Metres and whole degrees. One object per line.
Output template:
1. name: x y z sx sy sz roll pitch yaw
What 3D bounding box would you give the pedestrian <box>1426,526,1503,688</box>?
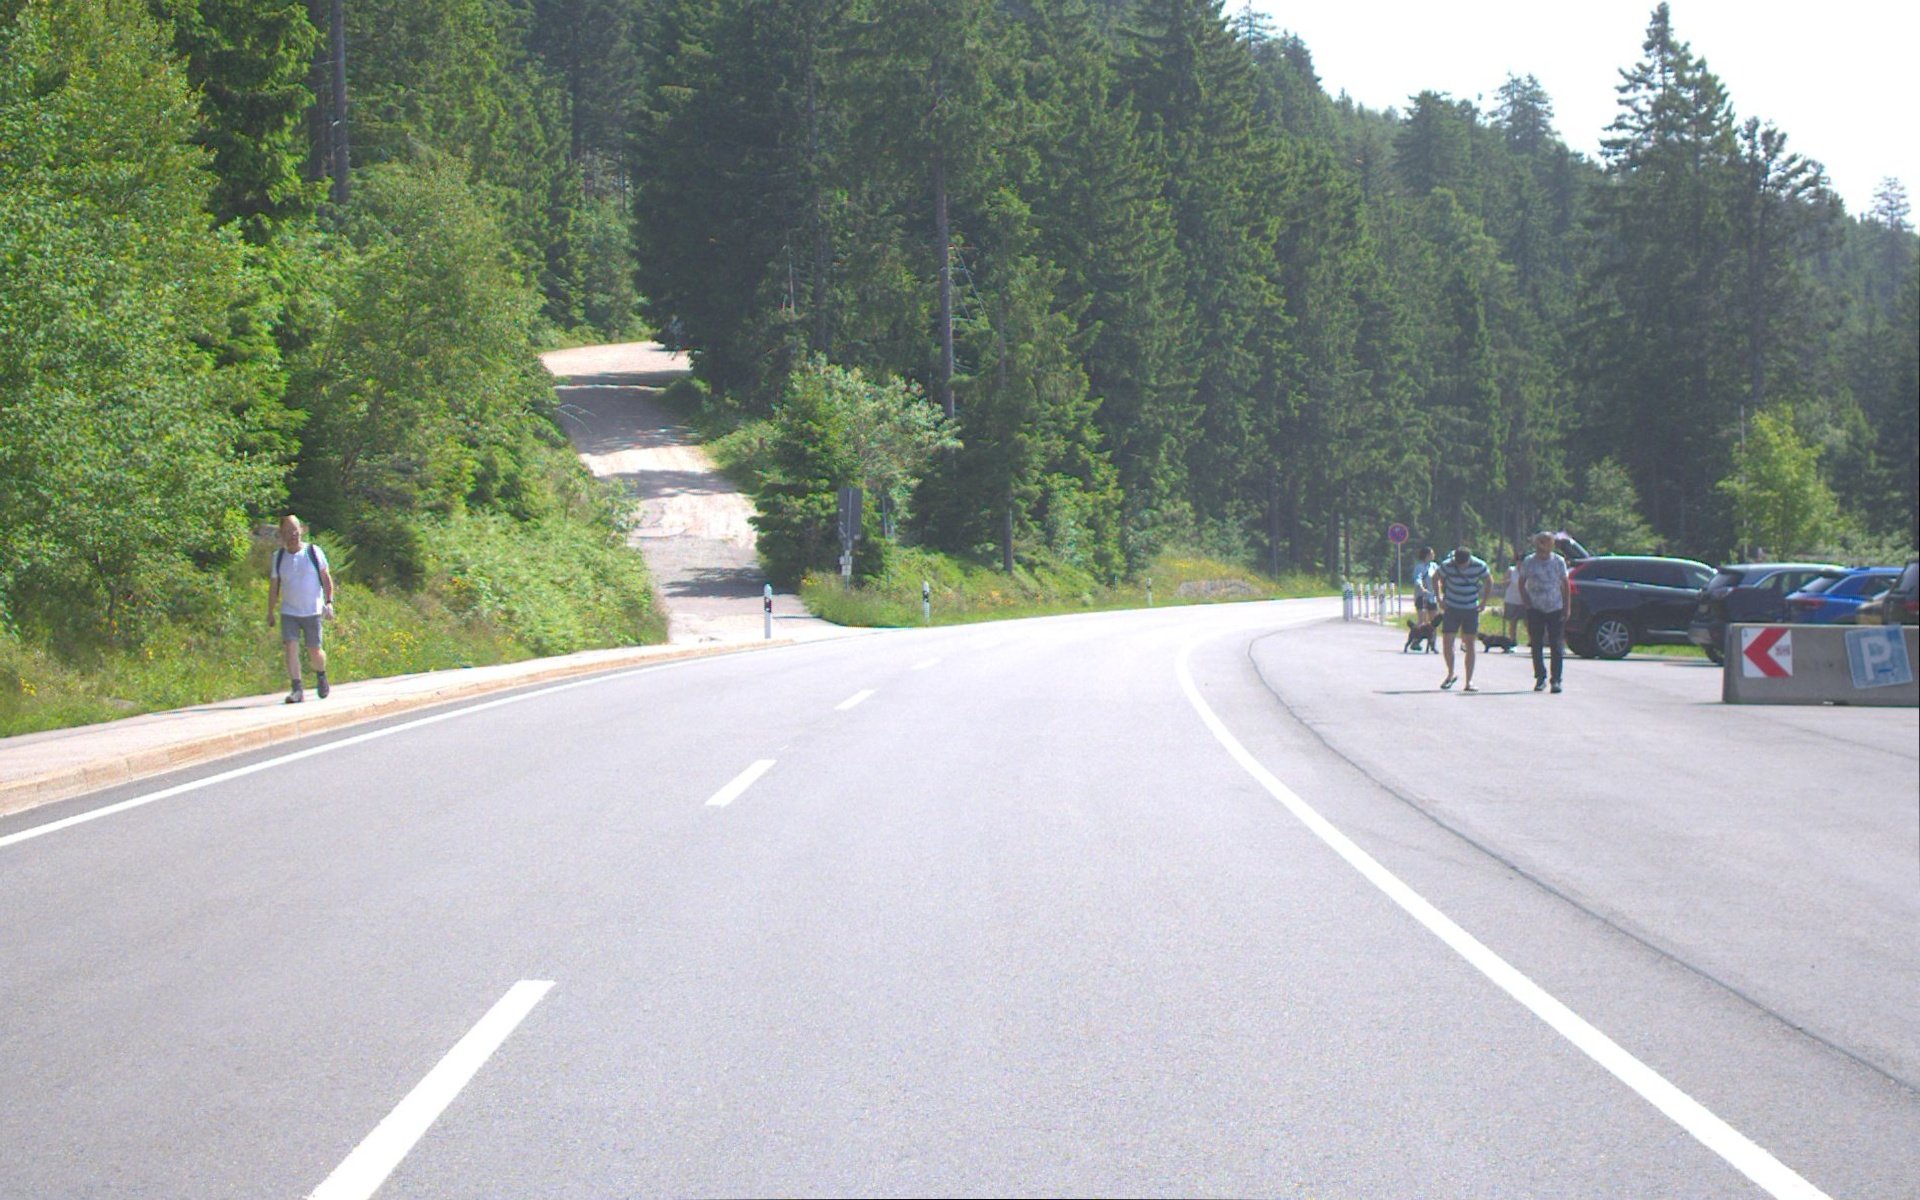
1. pedestrian: 5.531 0.069 37.662 0.754 1.754 0.775 0 1 15

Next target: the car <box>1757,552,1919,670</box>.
1. car: 13.627 0.149 49.138 3.986 1.530 1.807 1 4 -2

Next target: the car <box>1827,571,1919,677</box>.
1. car: 13.681 0.314 45.301 3.987 1.348 1.987 1 1 0

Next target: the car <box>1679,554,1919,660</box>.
1. car: 13.050 0.097 52.428 3.751 1.562 1.600 1 1 -4

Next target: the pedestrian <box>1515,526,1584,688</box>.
1. pedestrian: 6.412 0.069 37.382 0.665 1.735 0.894 0 1 15

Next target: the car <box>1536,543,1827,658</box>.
1. car: 11.623 0.005 55.552 4.263 1.788 1.892 1 0 -1

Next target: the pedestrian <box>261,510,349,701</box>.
1. pedestrian: -6.028 0.045 31.668 0.682 1.740 0.825 0 1 -2

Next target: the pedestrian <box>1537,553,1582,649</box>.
1. pedestrian: 10.105 0.011 57.933 0.617 1.582 0.734 0 2 21

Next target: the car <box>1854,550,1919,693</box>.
1. car: 12.745 0.315 40.375 3.986 1.641 1.600 2 1 -2

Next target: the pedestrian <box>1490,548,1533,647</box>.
1. pedestrian: 9.467 -0.045 58.973 0.653 1.654 0.687 0 2 15

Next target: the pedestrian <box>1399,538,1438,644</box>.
1. pedestrian: 7.753 -0.160 58.113 0.617 1.769 0.723 1 1 9
